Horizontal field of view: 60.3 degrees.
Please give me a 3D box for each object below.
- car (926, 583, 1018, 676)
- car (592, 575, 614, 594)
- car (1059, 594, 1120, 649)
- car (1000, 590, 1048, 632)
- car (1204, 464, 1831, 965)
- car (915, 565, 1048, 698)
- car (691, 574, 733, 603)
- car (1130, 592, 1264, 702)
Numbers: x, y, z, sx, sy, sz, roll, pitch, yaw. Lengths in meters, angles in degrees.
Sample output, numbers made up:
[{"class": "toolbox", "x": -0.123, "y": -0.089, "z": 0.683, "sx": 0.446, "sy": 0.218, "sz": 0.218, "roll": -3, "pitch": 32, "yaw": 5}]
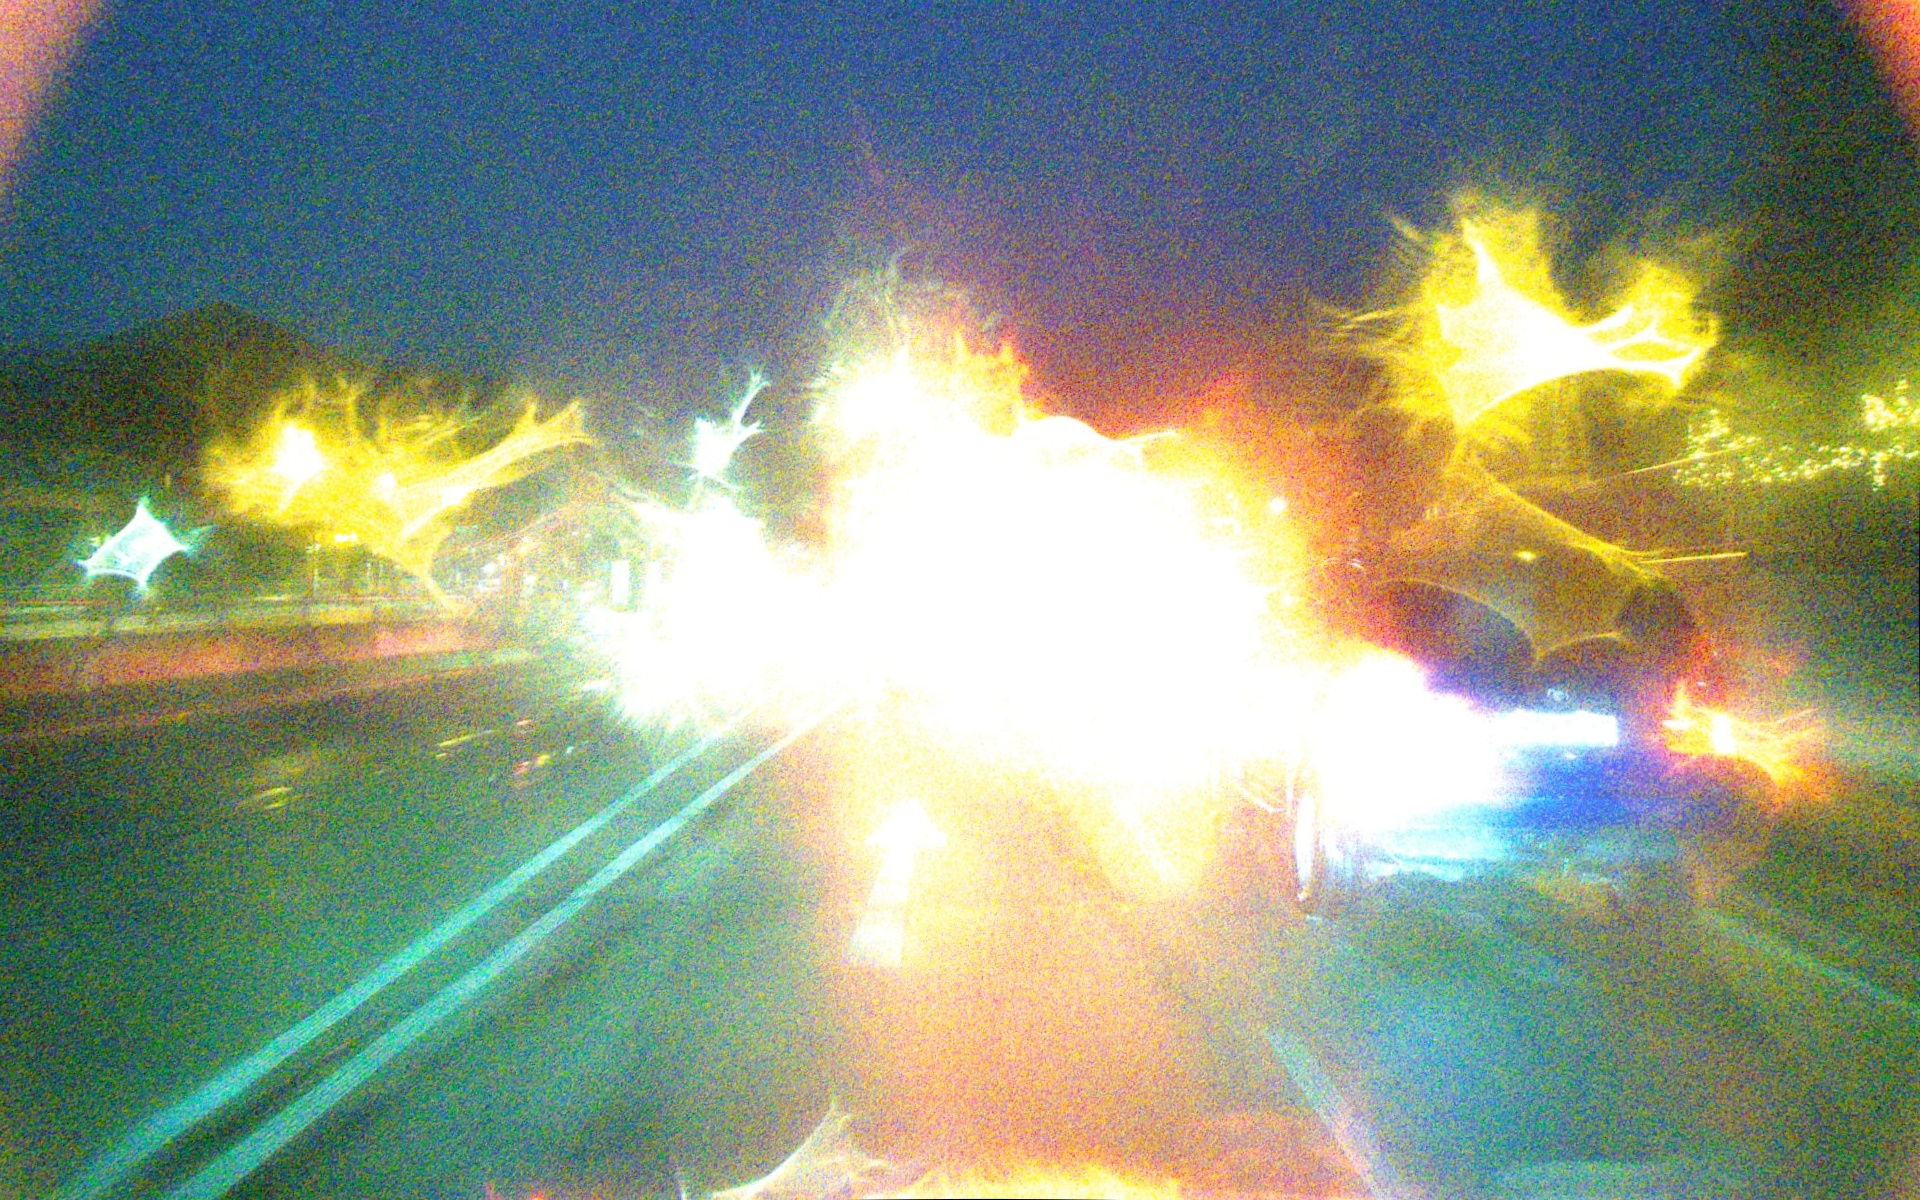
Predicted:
[{"class": "car", "x": 0.271, "y": 0.521, "z": 31.956, "sx": 1.673, "sy": 1.666, "sz": 3.731, "roll": 0, "pitch": 1, "yaw": 2}, {"class": "car", "x": -37.981, "y": -1.631, "z": 176.009, "sx": 1.957, "sy": 1.945, "sz": 4.732, "roll": 1, "pitch": 0, "yaw": -10}, {"class": "car", "x": 3.655, "y": 0.605, "z": 47.134, "sx": 1.628, "sy": 1.475, "sz": 4.051, "roll": 1, "pitch": 0, "yaw": 3}, {"class": "car", "x": 2.299, "y": 0.395, "z": 60.476, "sx": 1.629, "sy": 1.475, "sz": 4.050, "roll": 1, "pitch": 0, "yaw": 1}, {"class": "car", "x": 2.587, "y": 0.440, "z": 8.861, "sx": 1.902, "sy": 2.006, "sz": 4.218, "roll": 1, "pitch": 1, "yaw": 0}, {"class": "car", "x": 0.322, "y": 0.410, "z": 23.114, "sx": 1.659, "sy": 1.658, "sz": 3.853, "roll": 2, "pitch": 0, "yaw": 1}, {"class": "car", "x": -17.574, "y": -0.836, "z": 116.956, "sx": 1.965, "sy": 1.945, "sz": 4.714, "roll": 1, "pitch": 0, "yaw": -21}, {"class": "car", "x": 3.538, "y": 0.651, "z": 25.293, "sx": 1.731, "sy": 1.475, "sz": 4.221, "roll": 1, "pitch": 1, "yaw": 4}]
